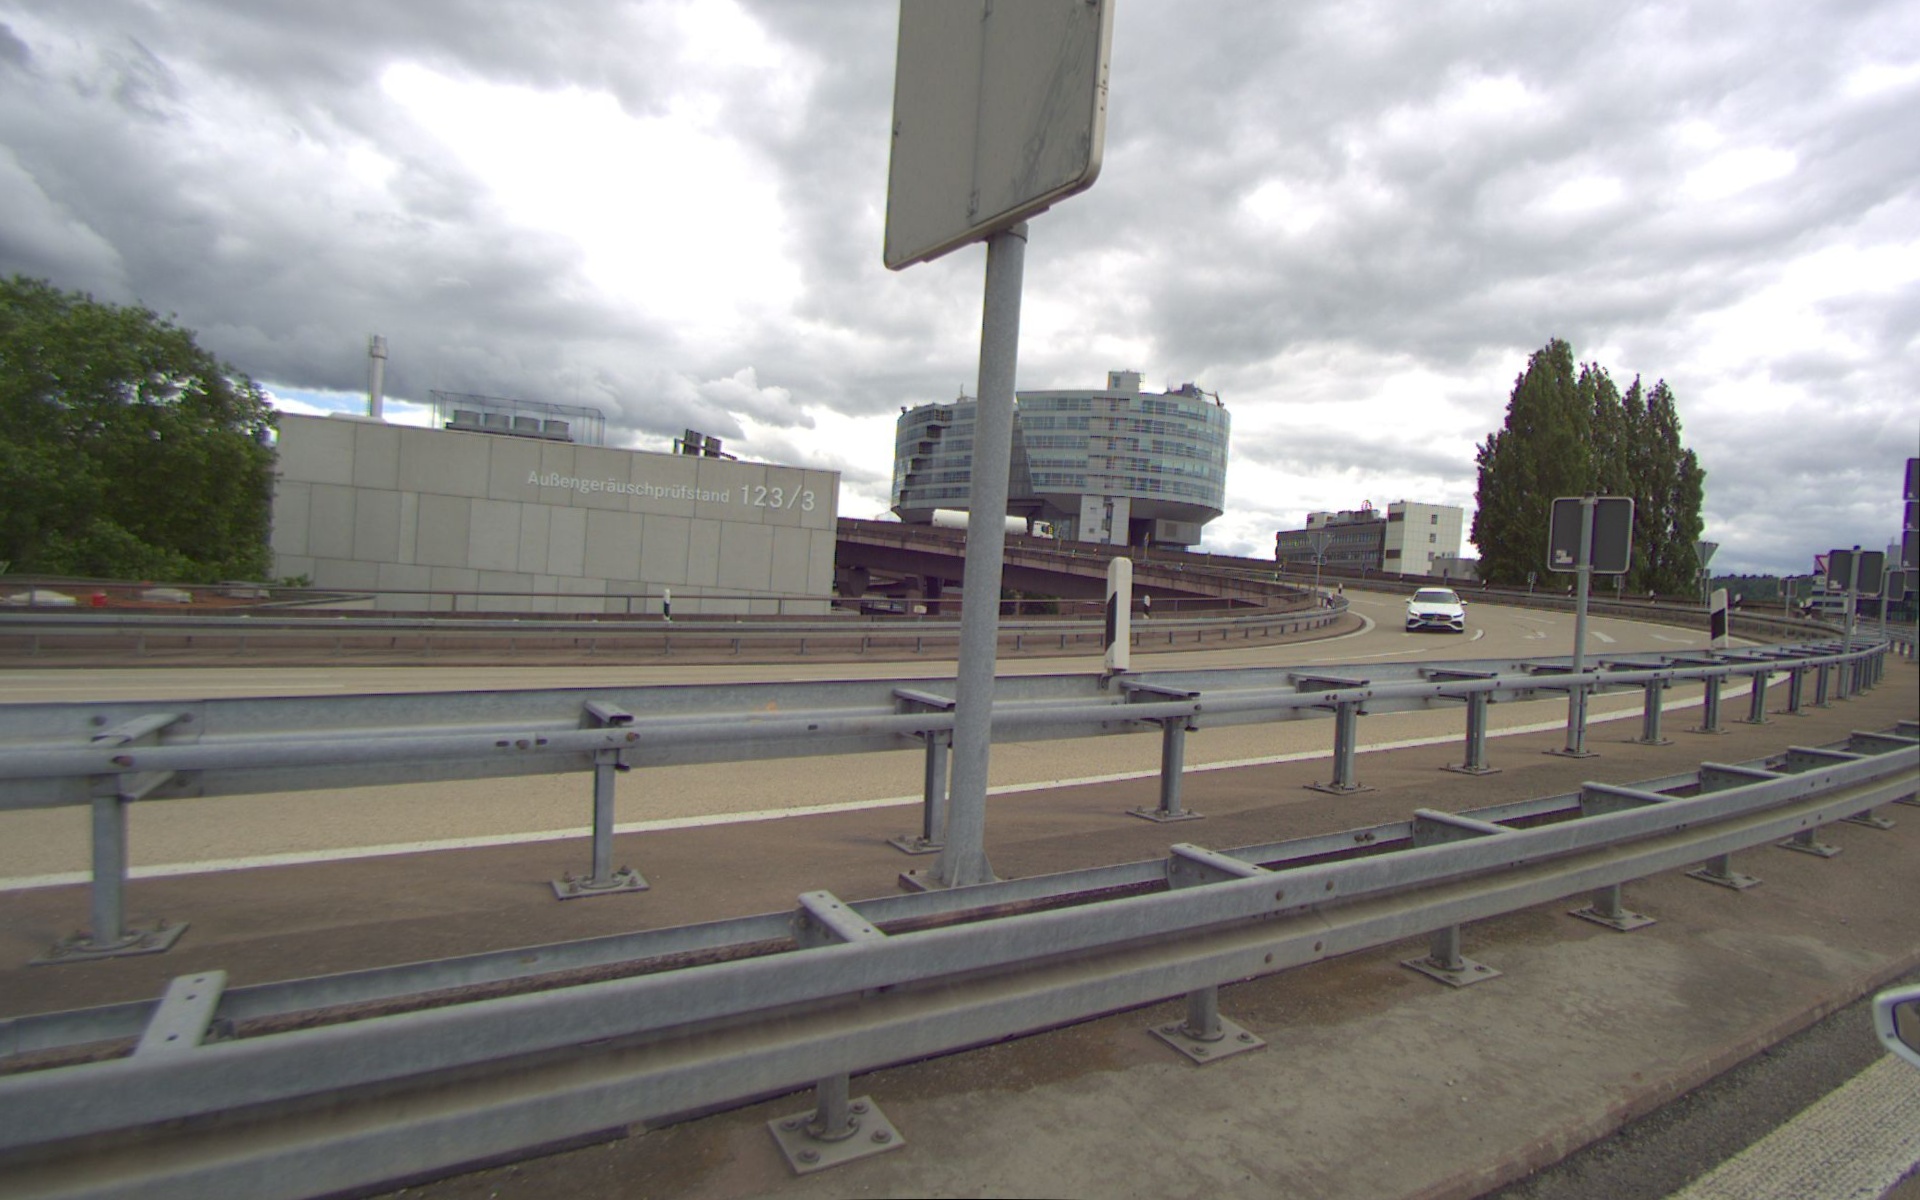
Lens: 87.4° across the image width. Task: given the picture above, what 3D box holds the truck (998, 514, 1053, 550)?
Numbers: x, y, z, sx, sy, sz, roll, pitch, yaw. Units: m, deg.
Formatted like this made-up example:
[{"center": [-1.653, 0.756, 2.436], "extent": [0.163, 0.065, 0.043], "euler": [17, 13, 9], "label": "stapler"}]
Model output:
[{"center": [7.457, -7.720, 114.682], "extent": [5.845, 3.475, 2.780], "euler": [5, 1, 7], "label": "truck"}]

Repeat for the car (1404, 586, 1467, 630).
[{"center": [16.670, 0.248, 35.194], "extent": [1.881, 1.433, 4.360], "euler": [0, 1, 26], "label": "car"}]

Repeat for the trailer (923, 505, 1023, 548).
[{"center": [1.543, -8.417, 115.416], "extent": [10.931, 3.786, 2.802], "euler": [5, 1, 7], "label": "trailer"}]
